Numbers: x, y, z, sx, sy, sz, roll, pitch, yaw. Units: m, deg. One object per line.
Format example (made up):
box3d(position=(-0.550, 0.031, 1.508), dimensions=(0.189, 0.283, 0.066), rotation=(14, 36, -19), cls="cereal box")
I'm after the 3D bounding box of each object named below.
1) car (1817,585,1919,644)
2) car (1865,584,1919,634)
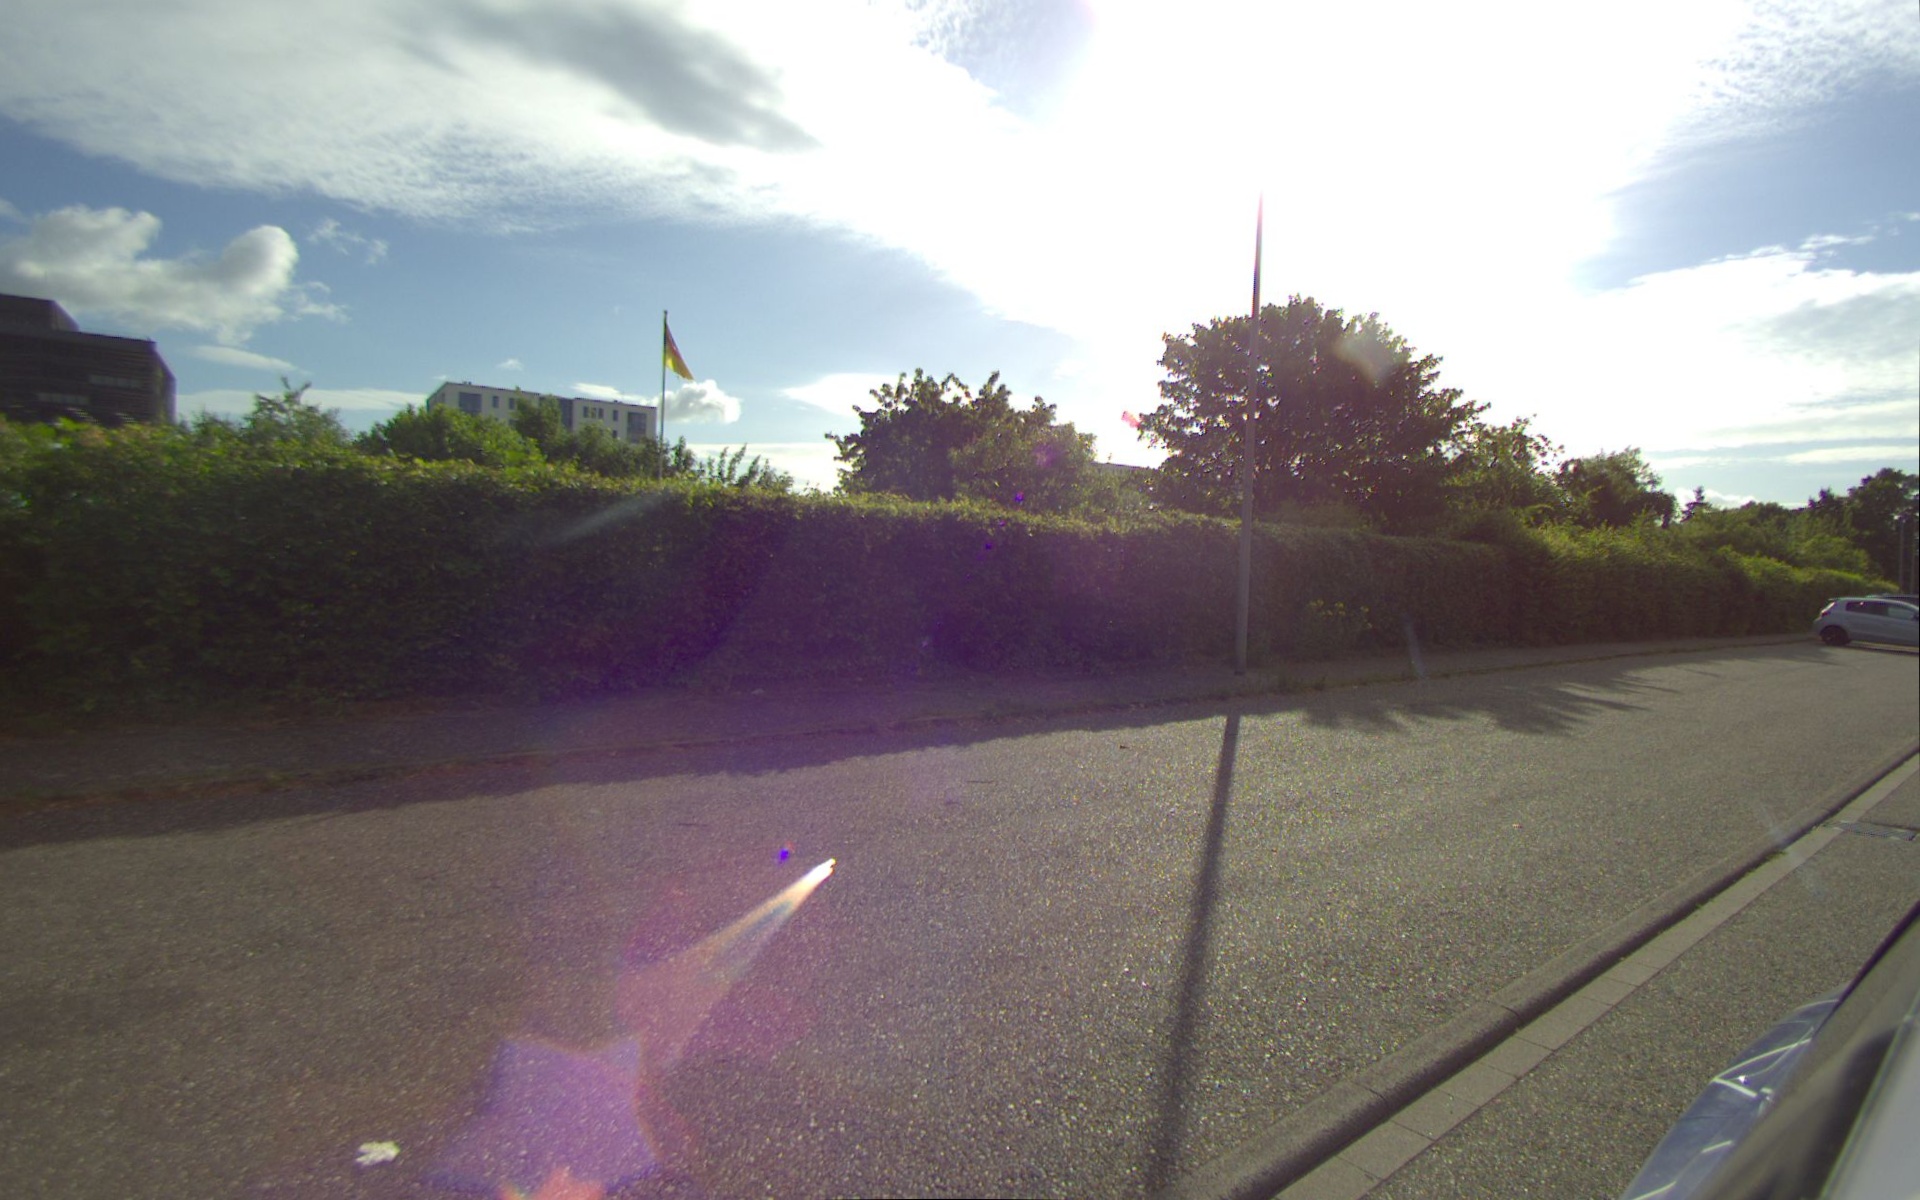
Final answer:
box3d(position=(28.087, 0.506, 29.927), dimensions=(1.662, 1.508, 3.868), rotation=(2, 4, -41), cls="car")
box3d(position=(36.158, 0.423, 36.757), dimensions=(1.731, 1.720, 4.601), rotation=(1, 4, -39), cls="car")
